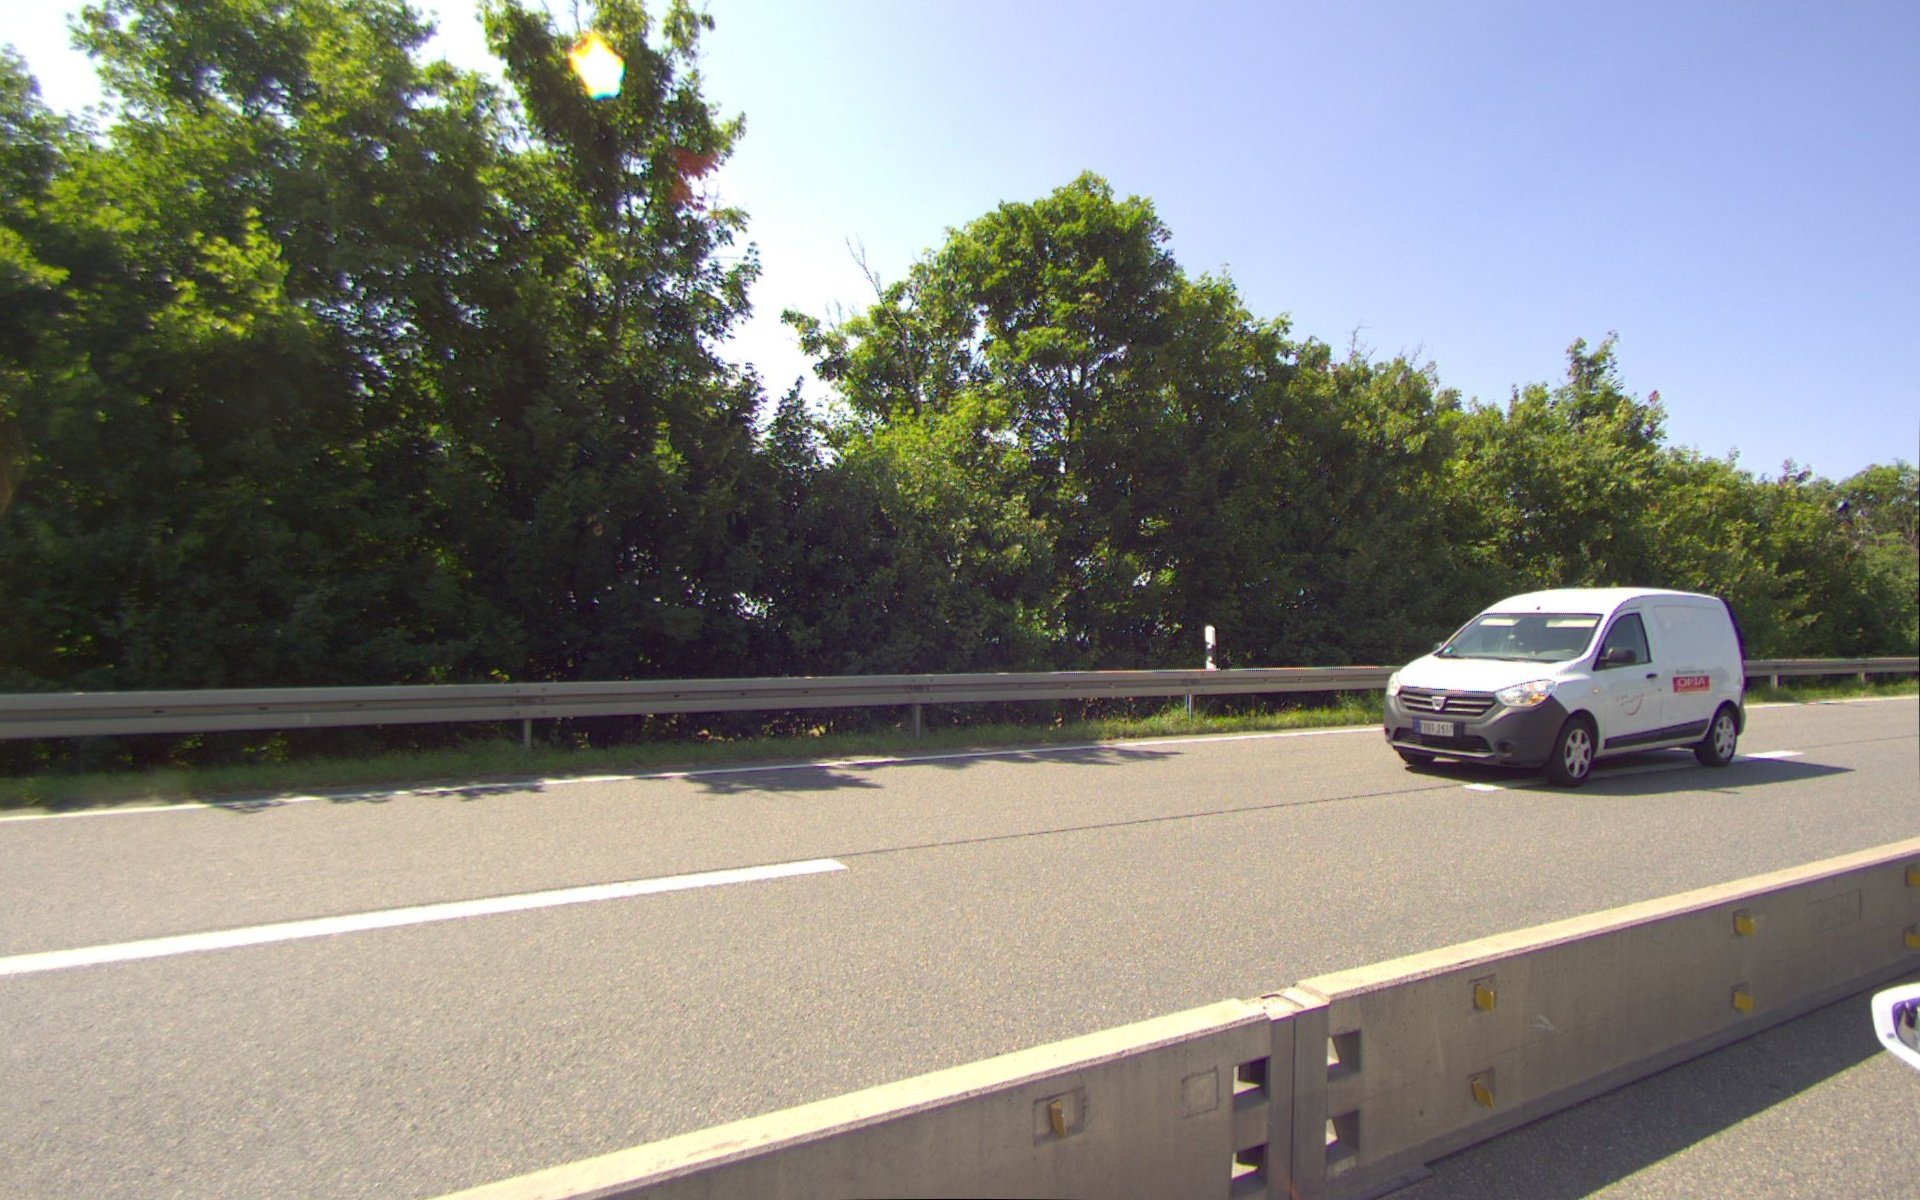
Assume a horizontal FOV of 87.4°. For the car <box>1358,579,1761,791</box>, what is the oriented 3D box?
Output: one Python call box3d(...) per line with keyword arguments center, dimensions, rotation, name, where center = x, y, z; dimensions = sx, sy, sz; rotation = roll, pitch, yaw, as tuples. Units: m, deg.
box3d(center=(6.209, 0.762, 10.292), dimensions=(4.234, 1.788, 1.747), rotation=(1, -1, -30), name="car")
